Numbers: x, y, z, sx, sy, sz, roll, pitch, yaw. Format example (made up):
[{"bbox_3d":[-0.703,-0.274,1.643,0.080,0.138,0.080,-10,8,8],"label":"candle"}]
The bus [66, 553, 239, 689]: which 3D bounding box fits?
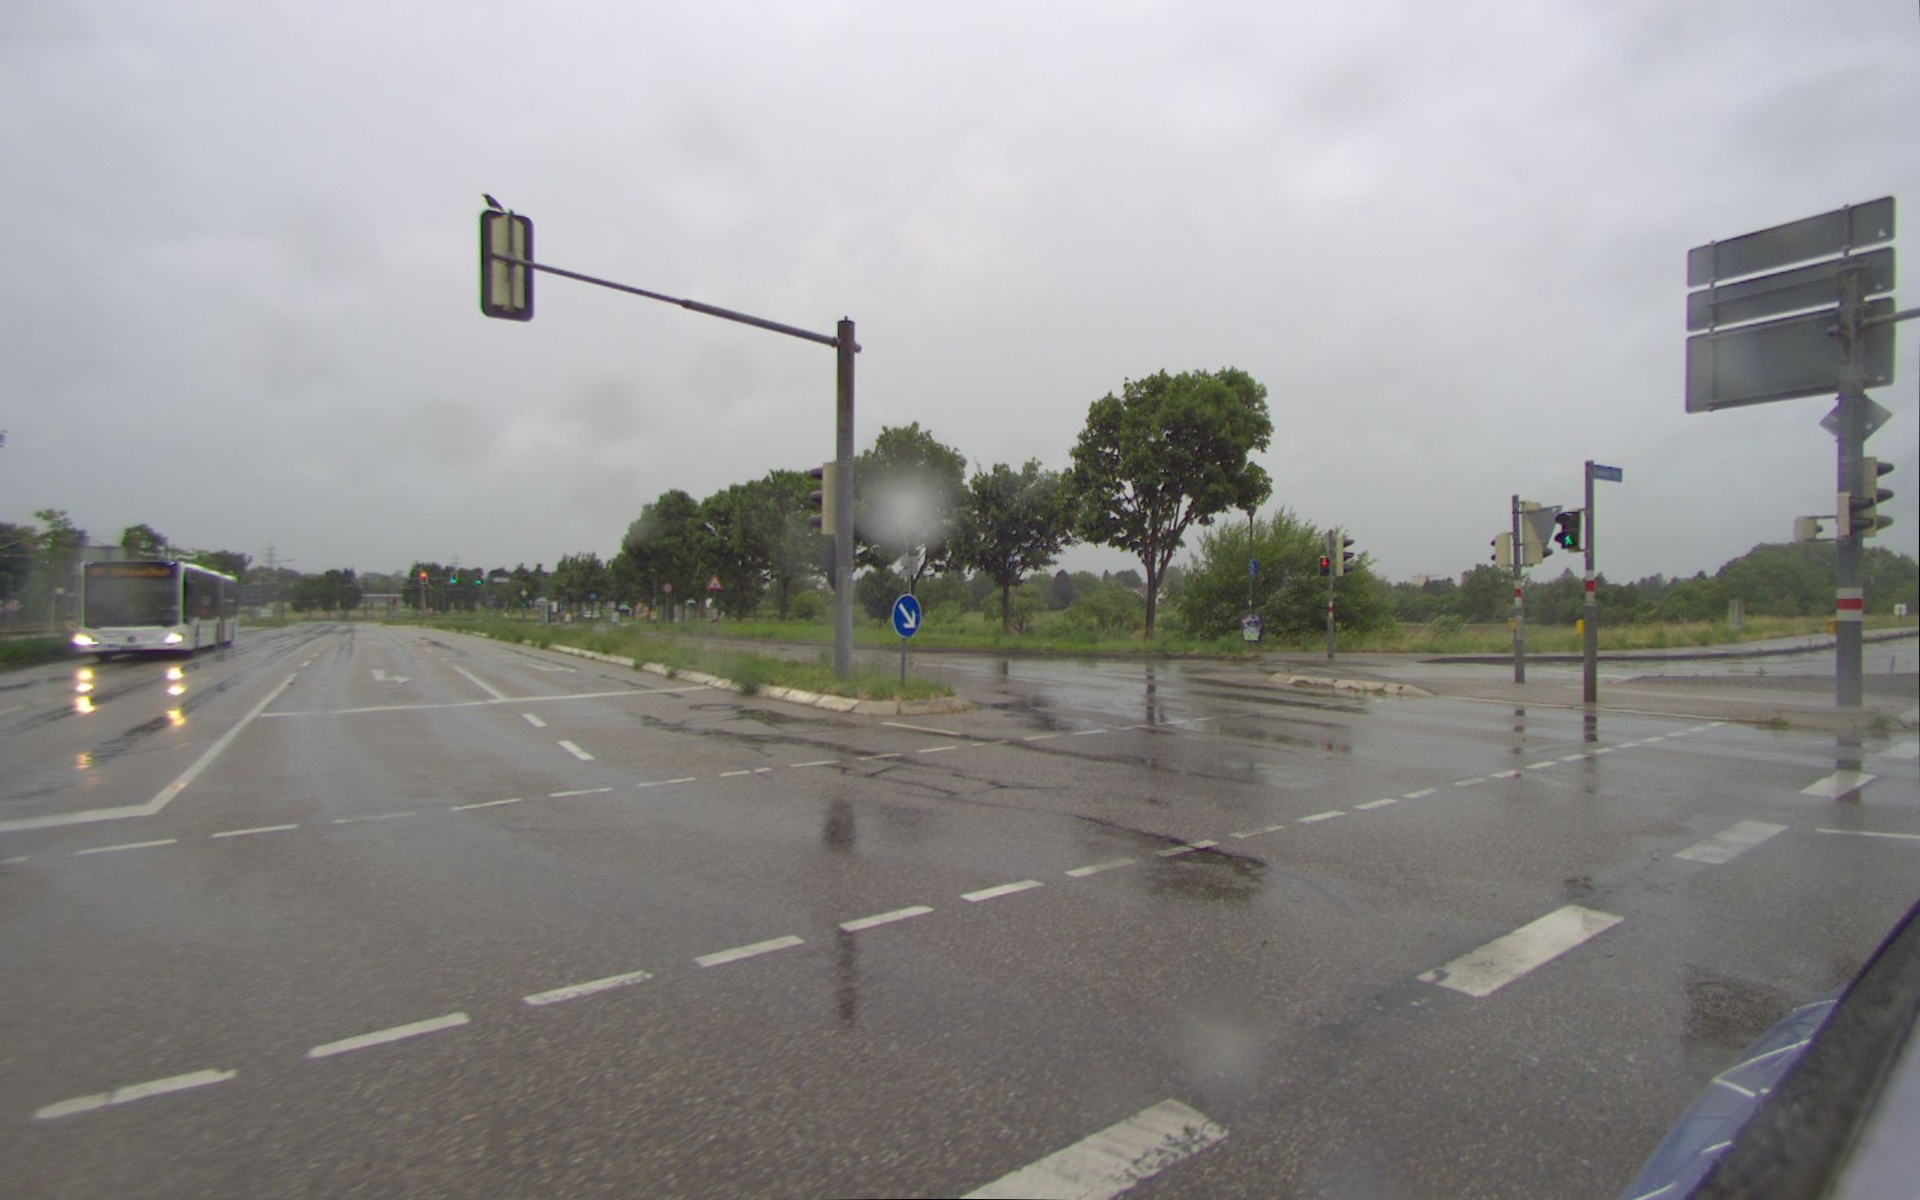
[{"bbox_3d":[-28.849,0.508,37.082,2.702,3.831,18.453,0,0,-32],"label":"bus"}]
